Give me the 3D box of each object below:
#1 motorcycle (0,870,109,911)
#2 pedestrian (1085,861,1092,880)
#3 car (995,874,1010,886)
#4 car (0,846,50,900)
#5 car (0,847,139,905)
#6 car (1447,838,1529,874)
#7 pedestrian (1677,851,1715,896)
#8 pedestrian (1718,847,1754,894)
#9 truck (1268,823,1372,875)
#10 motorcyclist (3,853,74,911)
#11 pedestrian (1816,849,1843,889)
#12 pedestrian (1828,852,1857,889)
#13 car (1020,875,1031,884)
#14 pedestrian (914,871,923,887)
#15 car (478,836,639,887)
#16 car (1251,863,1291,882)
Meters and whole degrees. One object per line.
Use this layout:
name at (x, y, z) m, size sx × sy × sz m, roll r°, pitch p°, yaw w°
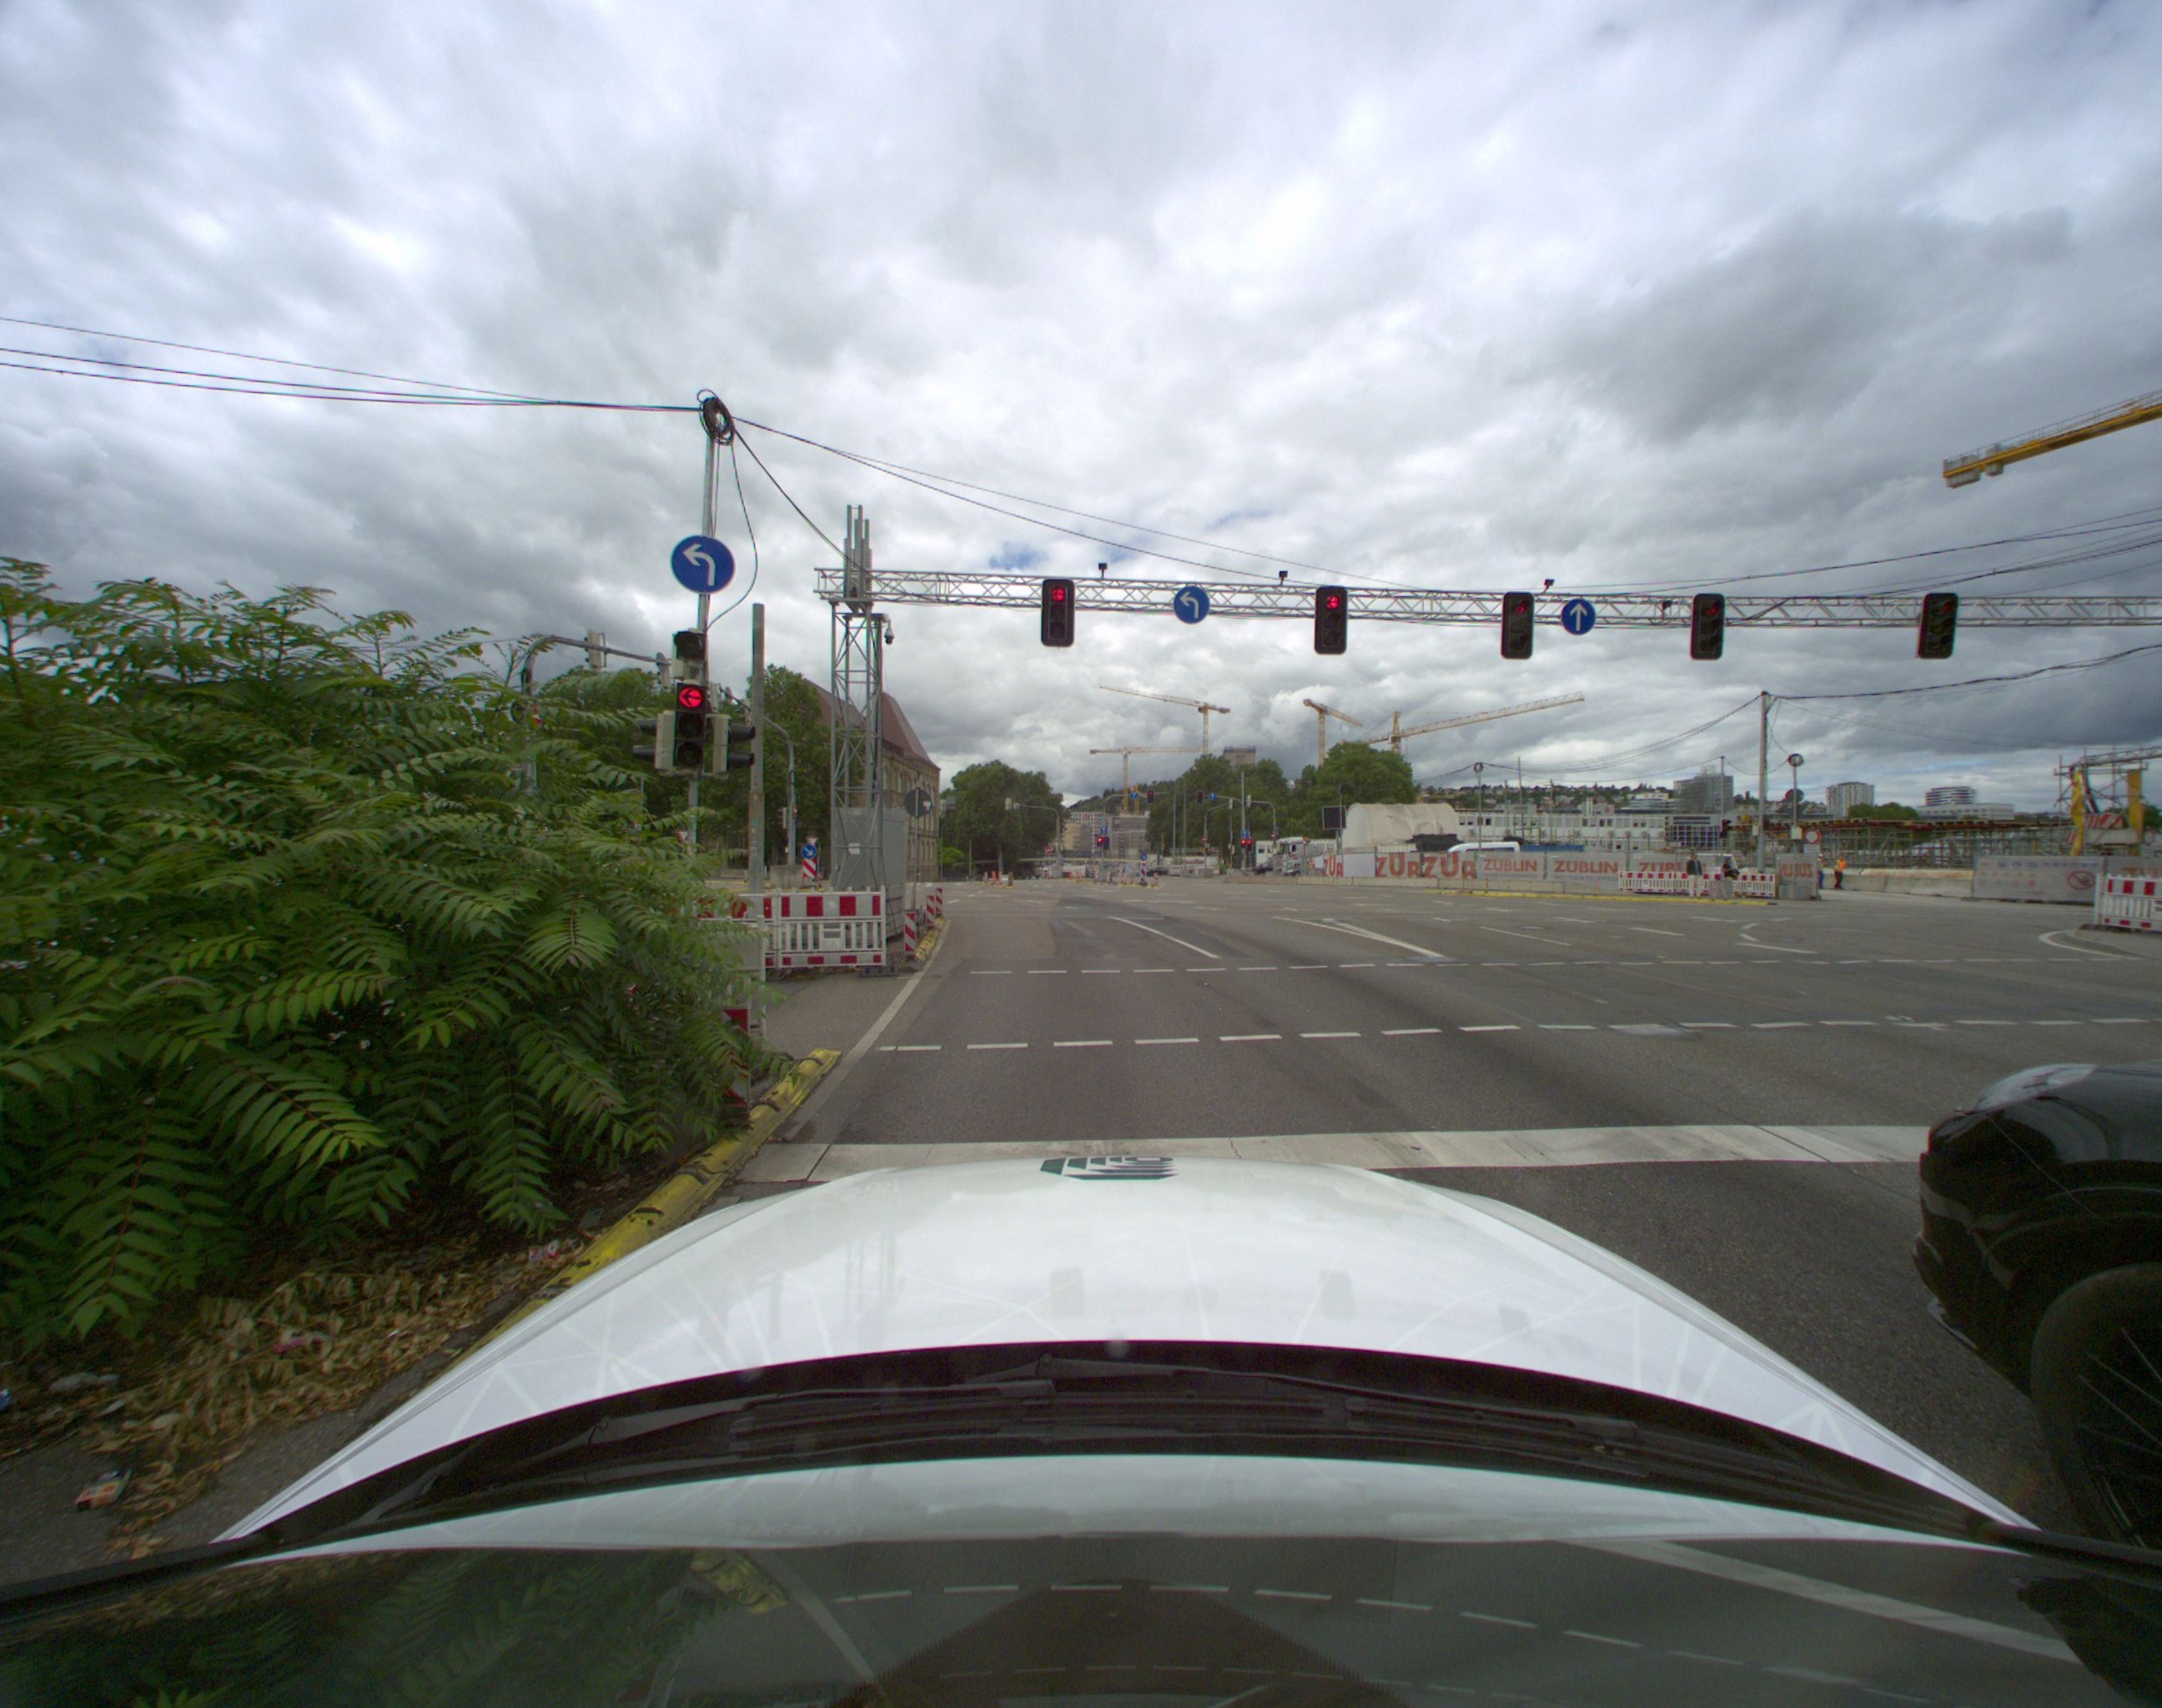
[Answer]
motorcycle at (-25.305, 0.892, 19.844) m, size 2.342 × 0.941 × 0.697 m, roll -1°, pitch -1°, yaw -2°
pedestrian at (0.752, 1.630, 81.542) m, size 0.583 × 1.840 × 0.604 m, roll 0°, pitch -1°, yaw -2°
car at (-12.251, 4.049, 127.217) m, size 1.987 × 1.838 × 3.998 m, roll 0°, pitch -1°, yaw -1°
car at (-32.882, 0.562, 23.304) m, size 4.095 × 1.547 × 1.999 m, roll 0°, pitch -1°, yaw -1°
car at (-29.811, 0.608, 22.947) m, size 4.095 × 1.547 × 1.999 m, roll 0°, pitch -1°, yaw -2°
car at (23.467, 0.120, 47.102) m, size 3.955 × 2.014 × 2.009 m, roll -1°, pitch -1°, yaw 17°
pedestrian at (25.749, 0.813, 34.117) m, size 1.035 × 1.848 × 0.794 m, roll -1°, pitch -1°, yaw 17°
pedestrian at (28.152, 0.698, 35.001) m, size 1.052 × 2.014 × 1.022 m, roll 0°, pitch -1°, yaw -42°
truck at (23.611, -0.528, 80.619) m, size 9.734 × 4.961 × 3.097 m, roll 0°, pitch -1°, yaw -16°
motorcyclist at (-25.386, 0.672, 19.844) m, size 0.786 × 1.380 × 0.697 m, roll 0°, pitch -1°, yaw -2°
pedestrian at (38.286, 0.745, 41.658) m, size 0.673 × 2.014 × 0.869 m, roll -1°, pitch -1°, yaw 14°
pedestrian at (39.050, 0.838, 41.775) m, size 0.677 × 1.916 × 0.865 m, roll 0°, pitch -1°, yaw -4°
car at (-11.829, 5.489, 174.026) m, size 1.987 × 1.838 × 3.998 m, roll 0°, pitch -1°, yaw -1°
pedestrian at (-21.842, 3.362, 109.614) m, size 0.946 × 2.014 × 0.767 m, roll 0°, pitch -1°, yaw 3°
car at (-18.961, 0.266, 29.775) m, size 4.493 × 1.759 × 1.992 m, roll 0°, pitch -1°, yaw -12°
car at (20.756, 1.967, 89.136) m, size 3.970 × 2.014 × 2.002 m, roll 0°, pitch -1°, yaw 3°
